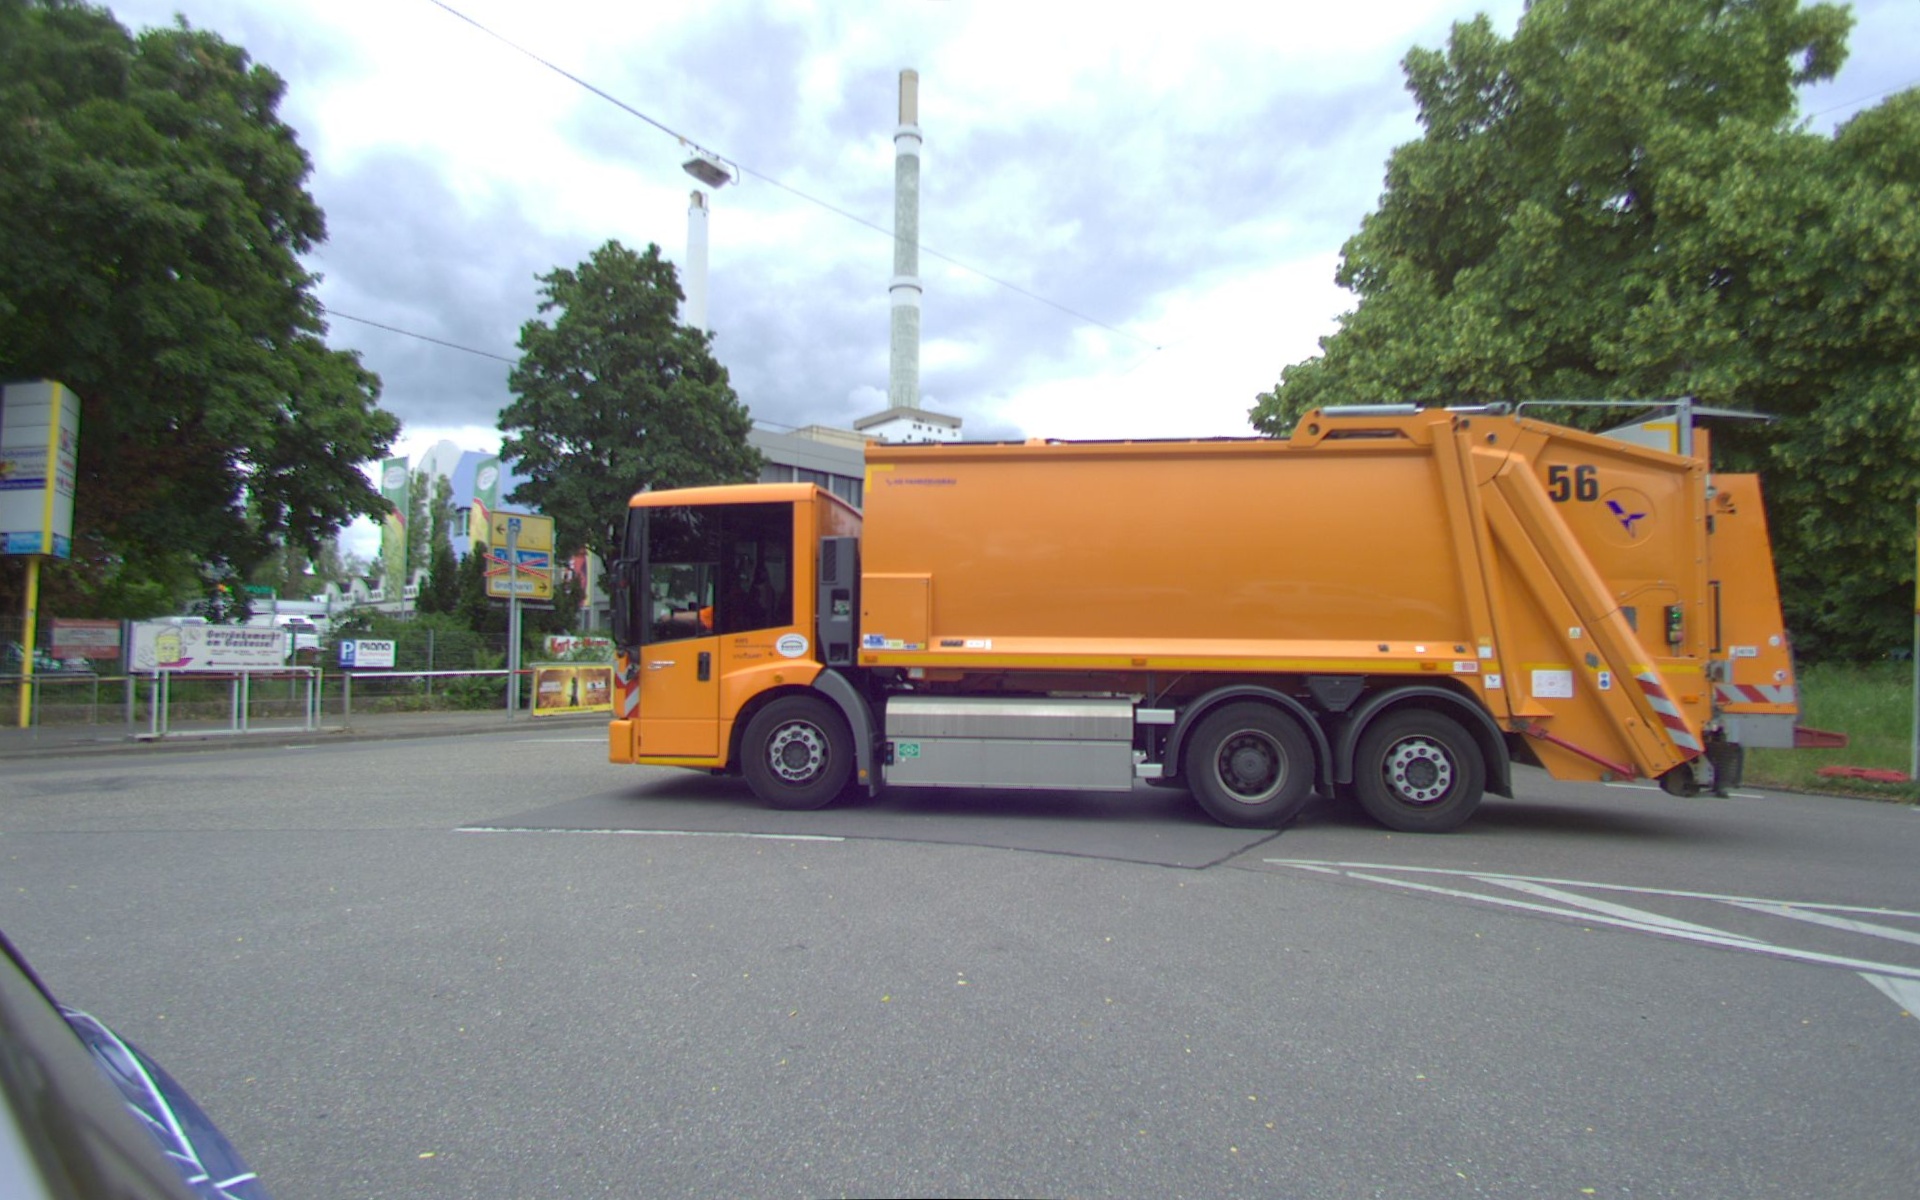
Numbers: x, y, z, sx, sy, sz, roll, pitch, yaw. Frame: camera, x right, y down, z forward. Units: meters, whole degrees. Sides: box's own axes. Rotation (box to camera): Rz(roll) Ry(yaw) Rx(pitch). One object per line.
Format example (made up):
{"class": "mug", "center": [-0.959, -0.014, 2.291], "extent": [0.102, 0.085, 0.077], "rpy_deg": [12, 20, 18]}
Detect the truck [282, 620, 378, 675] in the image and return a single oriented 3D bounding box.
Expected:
{"class": "truck", "center": [-51.502, 3.955, 82.398], "extent": [15.856, 4.056, 2.831], "rpy_deg": [-3, -6, 45]}

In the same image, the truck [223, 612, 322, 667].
{"class": "truck", "center": [-54.197, 3.214, 79.471], "extent": [15.727, 3.964, 2.811], "rpy_deg": [-3, -5, 43]}

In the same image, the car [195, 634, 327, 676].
{"class": "car", "center": [-47.651, 3.821, 69.169], "extent": [2.244, 2.754, 7.050], "rpy_deg": [-3, -6, 44]}

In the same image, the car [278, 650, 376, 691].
{"class": "car", "center": [-20.708, 2.292, 33.054], "extent": [3.700, 1.258, 1.686], "rpy_deg": [-3, -5, 41]}

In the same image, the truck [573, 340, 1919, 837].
{"class": "truck", "center": [1.915, 0.072, 9.399], "extent": [10.302, 3.554, 2.790], "rpy_deg": [-1, -3, 9]}

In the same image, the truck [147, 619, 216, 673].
{"class": "truck", "center": [-63.437, 3.803, 82.329], "extent": [9.191, 4.198, 2.956], "rpy_deg": [-3, -5, 44]}
